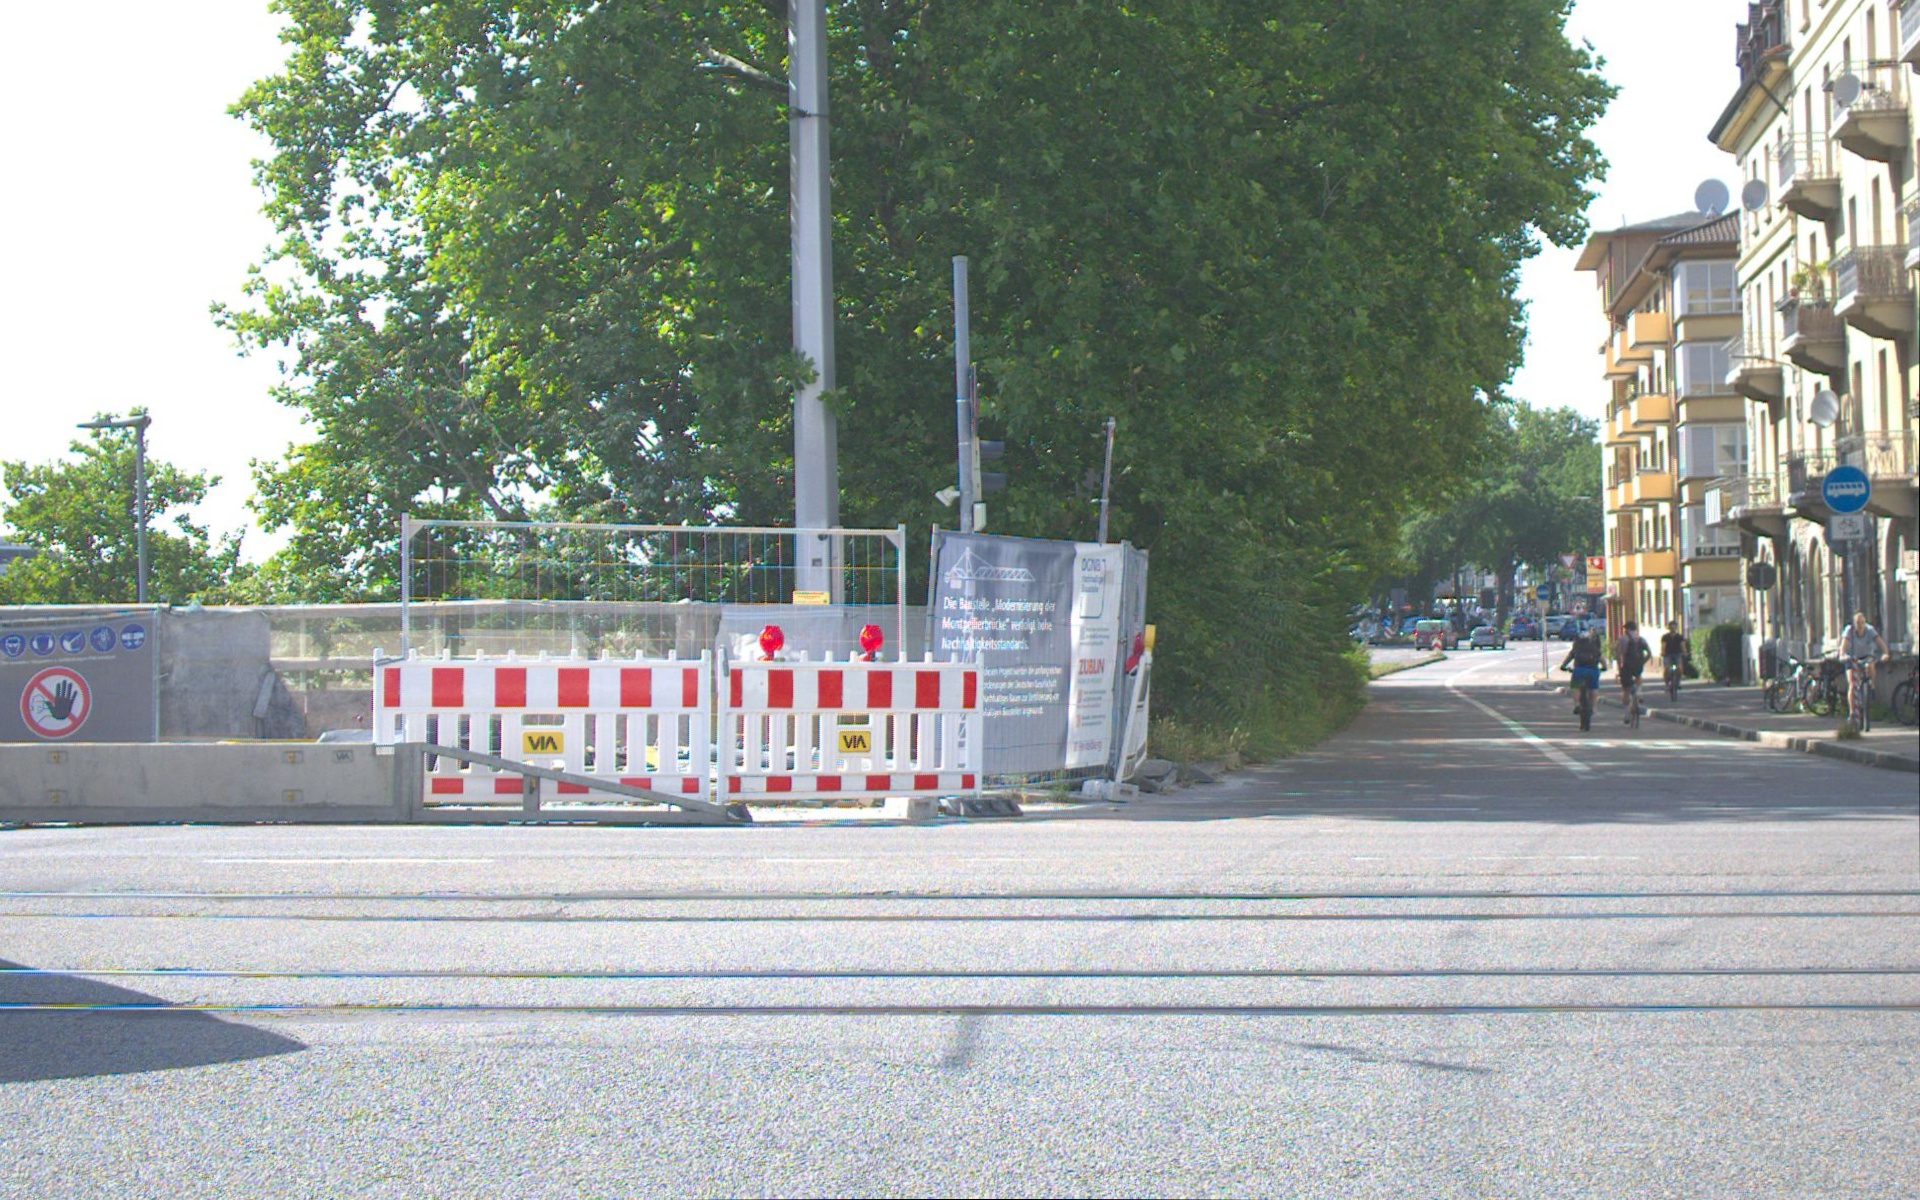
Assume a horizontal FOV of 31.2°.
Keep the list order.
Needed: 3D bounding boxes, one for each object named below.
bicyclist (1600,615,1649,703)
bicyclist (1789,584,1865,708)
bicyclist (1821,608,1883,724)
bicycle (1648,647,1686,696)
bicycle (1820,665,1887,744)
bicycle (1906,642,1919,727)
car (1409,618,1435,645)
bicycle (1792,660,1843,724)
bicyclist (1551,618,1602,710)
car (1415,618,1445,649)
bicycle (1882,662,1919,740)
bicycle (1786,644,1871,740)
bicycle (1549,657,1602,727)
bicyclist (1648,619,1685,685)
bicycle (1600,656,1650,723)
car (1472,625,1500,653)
[{"bbox_3d":[11.643,1.028,60.250,0.838,1.532,1.023,0,-1,11],"label":"bicyclist"},{"bbox_3d":[10.601,0.563,42.071,0.838,1.503,0.952,0,-1,11],"label":"bicyclist"},{"bbox_3d":[12.264,0.906,47.298,0.708,1.544,0.784,-2,0,10],"label":"bicyclist"},{"bbox_3d":[16.679,1.686,81.182,0.838,1.133,2.857,0,-1,11],"label":"bicycle"},{"bbox_3d":[12.273,1.426,47.268,0.708,0.987,1.819,-2,0,10],"label":"bicycle"},{"bbox_3d":[13.355,1.135,46.519,0.838,1.133,2.857,0,-1,11],"label":"bicycle"},{"bbox_3d":[28.907,1.964,215.258,1.626,1.617,3.694,0,1,8],"label":"car"},{"bbox_3d":[15.170,1.615,60.848,0.680,1.071,2.292,0,0,9],"label":"bicycle"},{"bbox_3d":[10.318,1.070,57.520,0.838,1.532,1.023,0,-1,11],"label":"bicyclist"},{"bbox_3d":[25.828,1.834,188.916,1.626,1.617,3.694,0,1,8],"label":"car"},{"bbox_3d":[13.898,1.455,50.076,0.680,1.071,2.292,0,0,9],"label":"bicycle"},{"bbox_3d":[10.634,1.109,42.157,0.838,1.133,2.857,0,-1,11],"label":"bicycle"},{"bbox_3d":[10.312,1.519,57.547,0.838,1.133,2.857,0,-1,11],"label":"bicycle"},{"bbox_3d":[16.665,1.222,81.105,0.838,1.532,1.023,0,-1,11],"label":"bicyclist"},{"bbox_3d":[11.625,1.557,60.127,0.838,1.133,2.857,0,-1,11],"label":"bicycle"},{"bbox_3d":[32.940,2.434,215.394,1.626,1.617,3.694,0,1,8],"label":"car"}]
